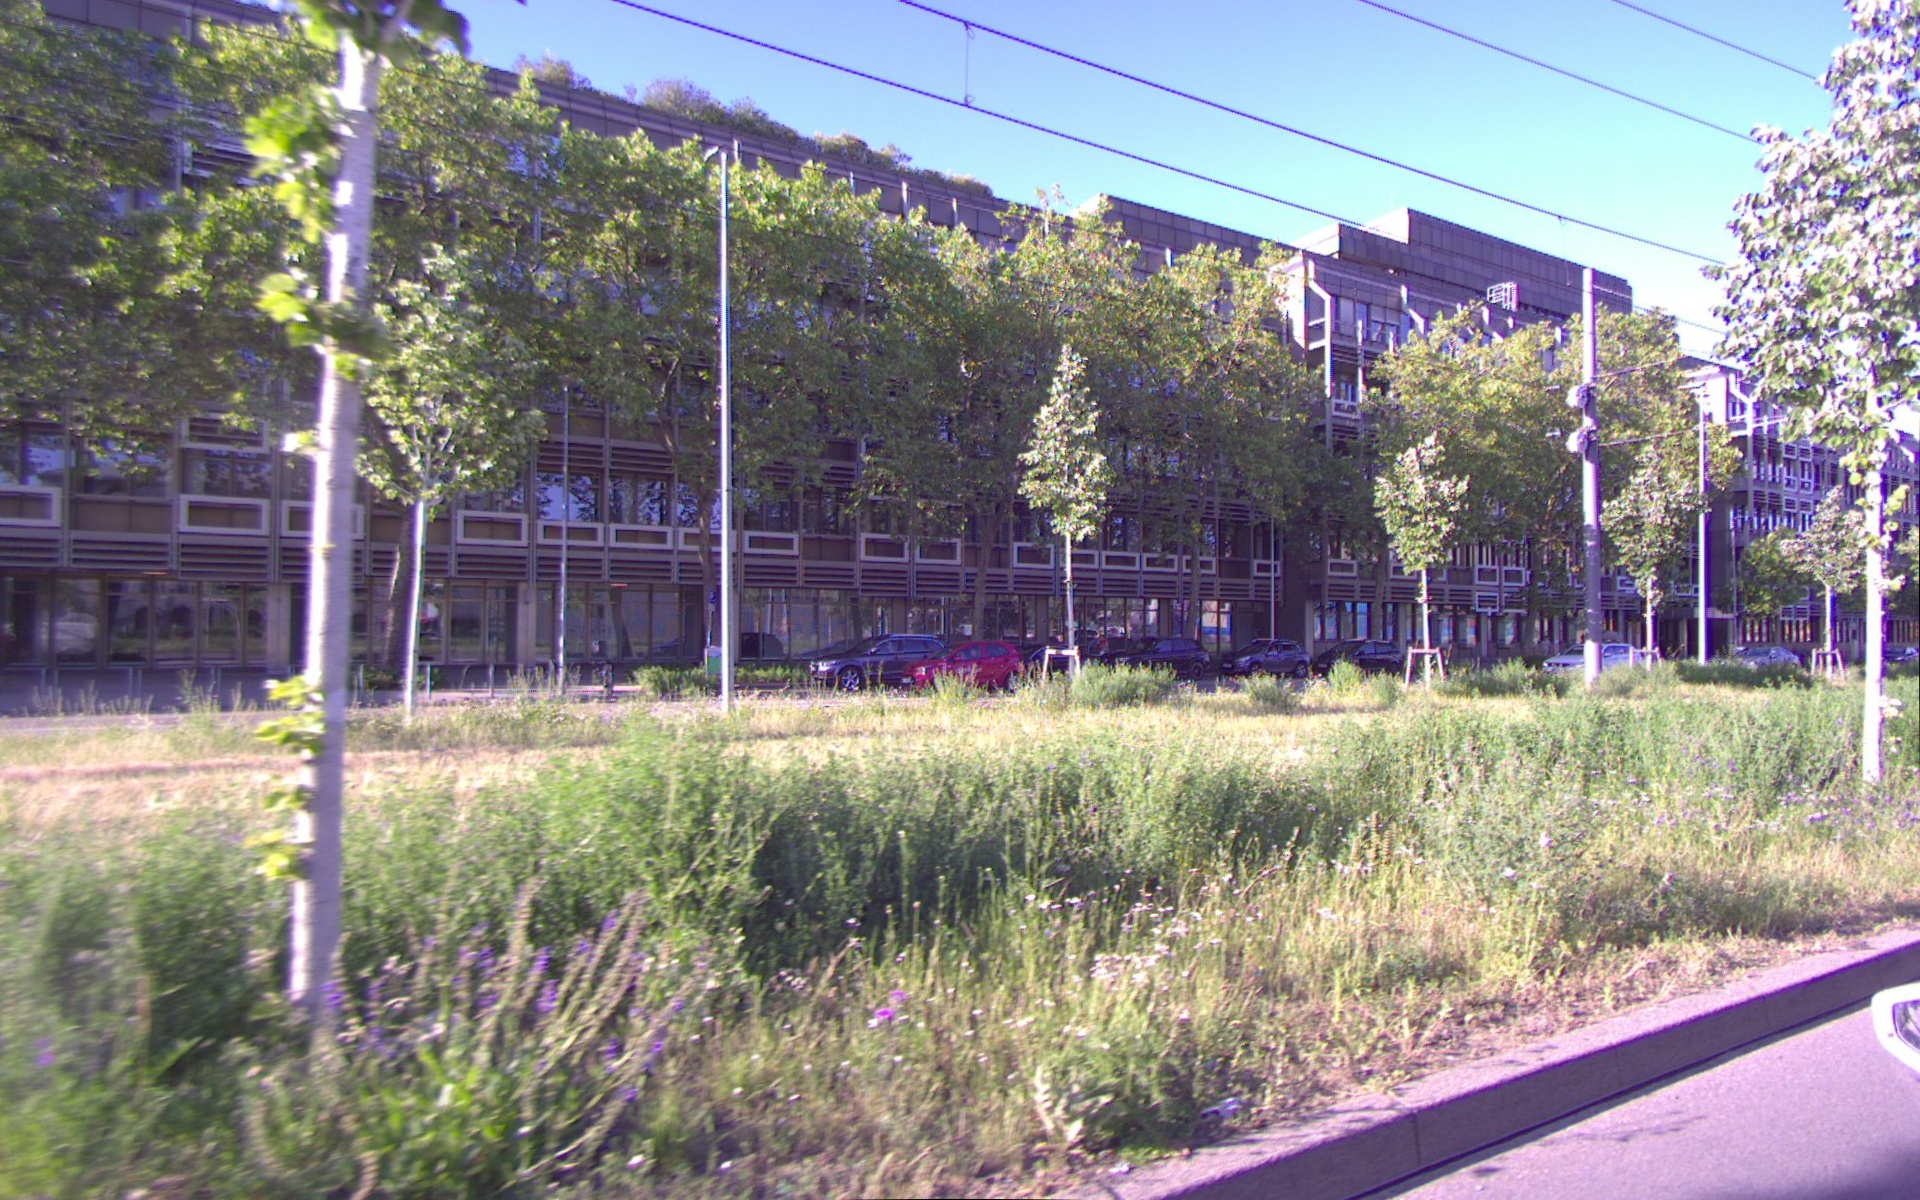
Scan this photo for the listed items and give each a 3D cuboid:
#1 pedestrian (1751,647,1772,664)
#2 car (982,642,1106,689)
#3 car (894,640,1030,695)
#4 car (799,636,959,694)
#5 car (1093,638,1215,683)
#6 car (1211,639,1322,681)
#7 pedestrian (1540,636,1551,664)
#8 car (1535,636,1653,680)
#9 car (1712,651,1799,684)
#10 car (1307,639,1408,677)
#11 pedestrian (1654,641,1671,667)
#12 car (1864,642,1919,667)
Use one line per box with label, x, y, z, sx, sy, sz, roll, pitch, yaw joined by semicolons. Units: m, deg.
pedestrian;56.749;3.914;71.157;0.888;1.184;0.896;2;-2;-29
car;2.971;2.311;35.696;3.947;1.541;1.987;2;-1;-26
car;0.054;1.930;28.714;3.529;1.471;1.706;1;-5;-26
car;-2.612;2.081;32.764;4.815;1.702;1.983;2;-1;-32
car;7.419;2.271;38.319;4.570;1.578;1.735;2;-1;-31
car;12.693;2.496;41.614;4.307;1.653;1.904;2;-4;-27
pedestrian;34.048;2.897;58.430;0.441;1.582;0.407;2;-2;-29
car;24.485;2.243;38.755;4.636;1.615;1.833;2;-4;-29
car;39.229;3.319;49.509;4.528;1.535;1.751;2;-3;-29
car;17.452;2.551;44.055;4.225;1.617;1.853;2;-3;-29
pedestrian;41.876;3.231;59.872;0.643;1.552;0.659;2;-2;-36
car;60.850;3.535;65.366;4.252;1.596;1.894;2;-2;-31
